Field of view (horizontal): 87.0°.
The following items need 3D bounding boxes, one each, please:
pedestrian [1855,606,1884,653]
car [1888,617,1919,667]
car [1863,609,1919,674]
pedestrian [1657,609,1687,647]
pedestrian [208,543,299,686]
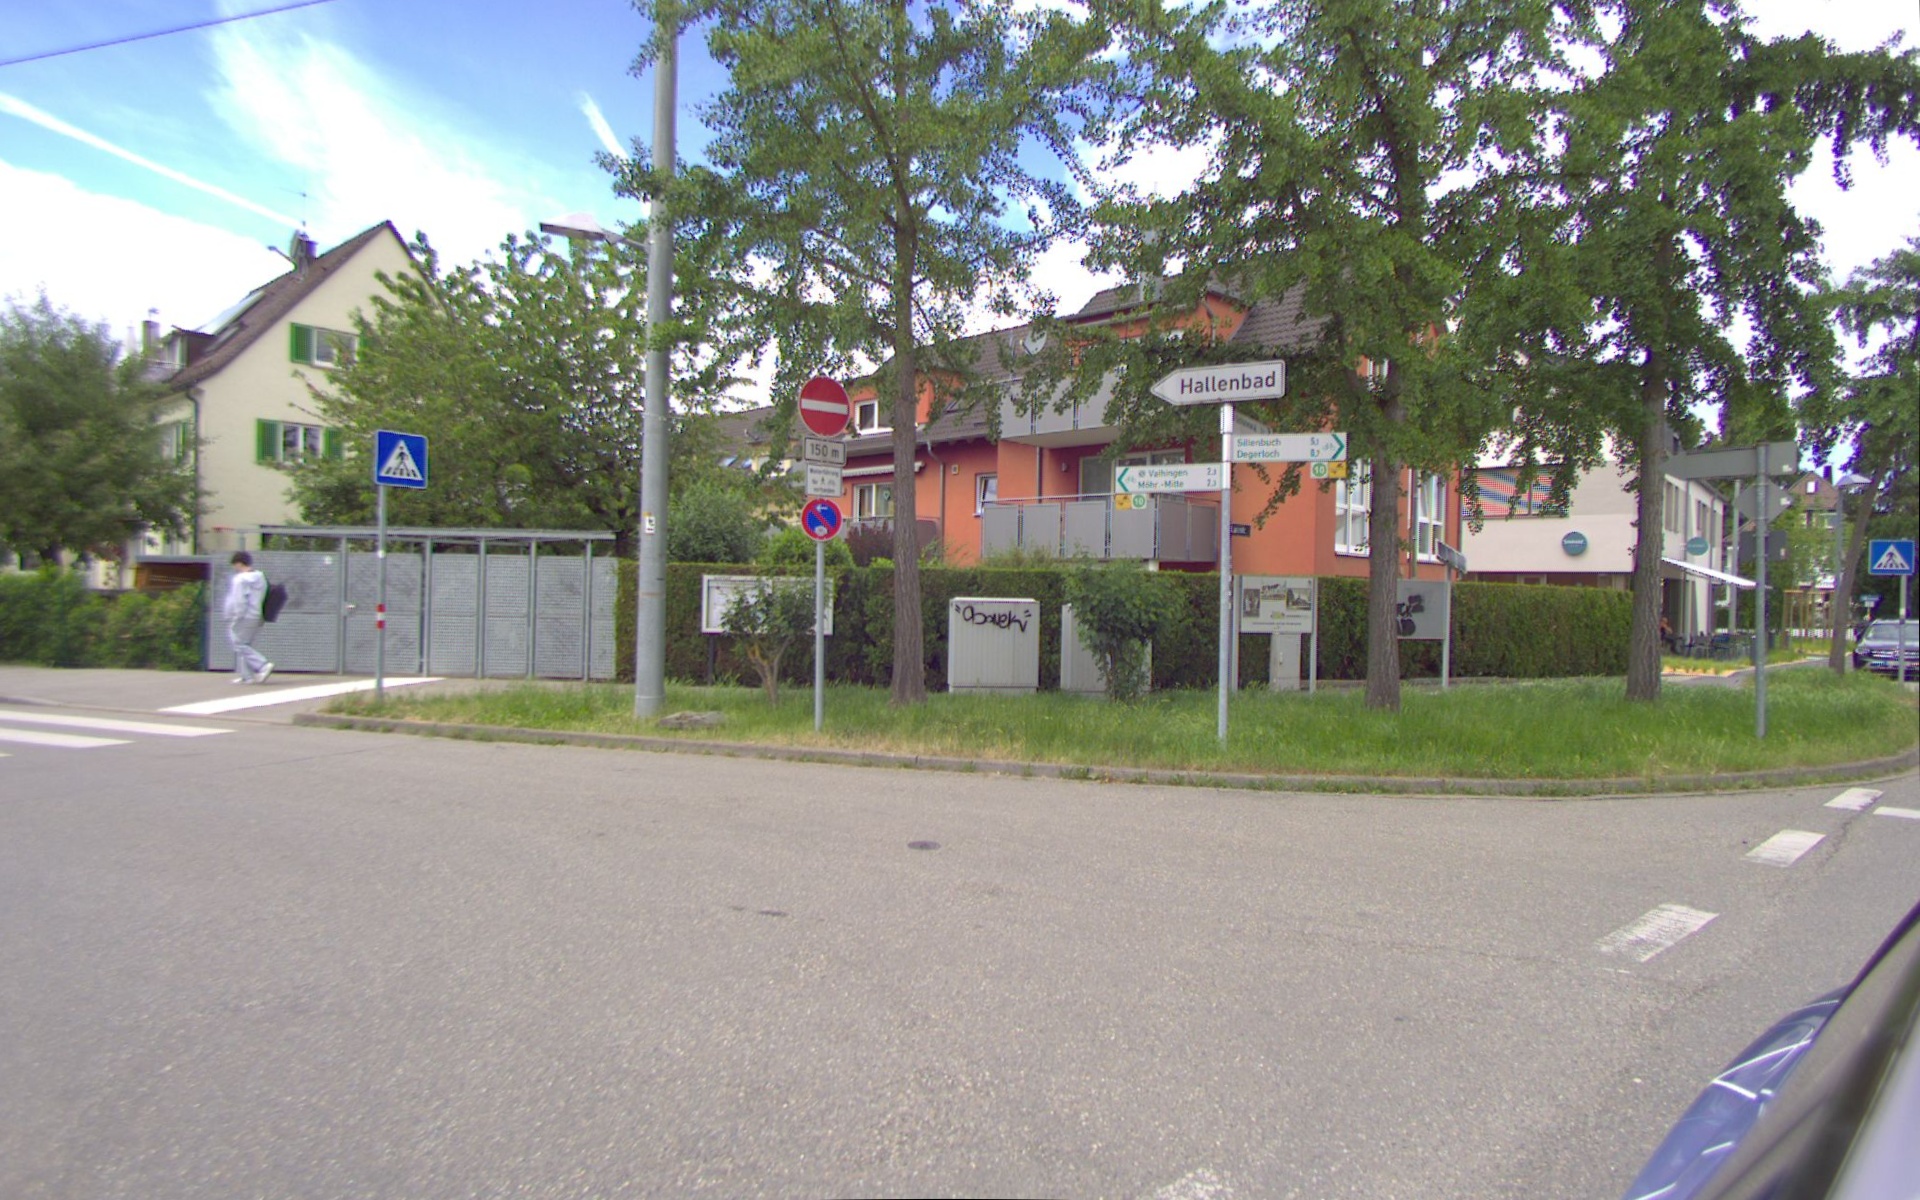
[{"bbox_3d":[33.492,1.081,37.264,0.648,1.689,0.677,1,1,-42],"label":"pedestrian"},{"bbox_3d":[30.136,1.277,31.455,3.771,1.470,1.708,1,0,-44],"label":"car"},{"bbox_3d":[26.261,1.105,27.865,1.848,1.657,4.393,1,0,45],"label":"car"},{"bbox_3d":[24.187,0.951,34.384,0.750,1.254,0.681,2,0,42],"label":"pedestrian"},{"bbox_3d":[-9.866,0.190,14.158,0.814,1.938,0.627,2,1,-7],"label":"pedestrian"}]
